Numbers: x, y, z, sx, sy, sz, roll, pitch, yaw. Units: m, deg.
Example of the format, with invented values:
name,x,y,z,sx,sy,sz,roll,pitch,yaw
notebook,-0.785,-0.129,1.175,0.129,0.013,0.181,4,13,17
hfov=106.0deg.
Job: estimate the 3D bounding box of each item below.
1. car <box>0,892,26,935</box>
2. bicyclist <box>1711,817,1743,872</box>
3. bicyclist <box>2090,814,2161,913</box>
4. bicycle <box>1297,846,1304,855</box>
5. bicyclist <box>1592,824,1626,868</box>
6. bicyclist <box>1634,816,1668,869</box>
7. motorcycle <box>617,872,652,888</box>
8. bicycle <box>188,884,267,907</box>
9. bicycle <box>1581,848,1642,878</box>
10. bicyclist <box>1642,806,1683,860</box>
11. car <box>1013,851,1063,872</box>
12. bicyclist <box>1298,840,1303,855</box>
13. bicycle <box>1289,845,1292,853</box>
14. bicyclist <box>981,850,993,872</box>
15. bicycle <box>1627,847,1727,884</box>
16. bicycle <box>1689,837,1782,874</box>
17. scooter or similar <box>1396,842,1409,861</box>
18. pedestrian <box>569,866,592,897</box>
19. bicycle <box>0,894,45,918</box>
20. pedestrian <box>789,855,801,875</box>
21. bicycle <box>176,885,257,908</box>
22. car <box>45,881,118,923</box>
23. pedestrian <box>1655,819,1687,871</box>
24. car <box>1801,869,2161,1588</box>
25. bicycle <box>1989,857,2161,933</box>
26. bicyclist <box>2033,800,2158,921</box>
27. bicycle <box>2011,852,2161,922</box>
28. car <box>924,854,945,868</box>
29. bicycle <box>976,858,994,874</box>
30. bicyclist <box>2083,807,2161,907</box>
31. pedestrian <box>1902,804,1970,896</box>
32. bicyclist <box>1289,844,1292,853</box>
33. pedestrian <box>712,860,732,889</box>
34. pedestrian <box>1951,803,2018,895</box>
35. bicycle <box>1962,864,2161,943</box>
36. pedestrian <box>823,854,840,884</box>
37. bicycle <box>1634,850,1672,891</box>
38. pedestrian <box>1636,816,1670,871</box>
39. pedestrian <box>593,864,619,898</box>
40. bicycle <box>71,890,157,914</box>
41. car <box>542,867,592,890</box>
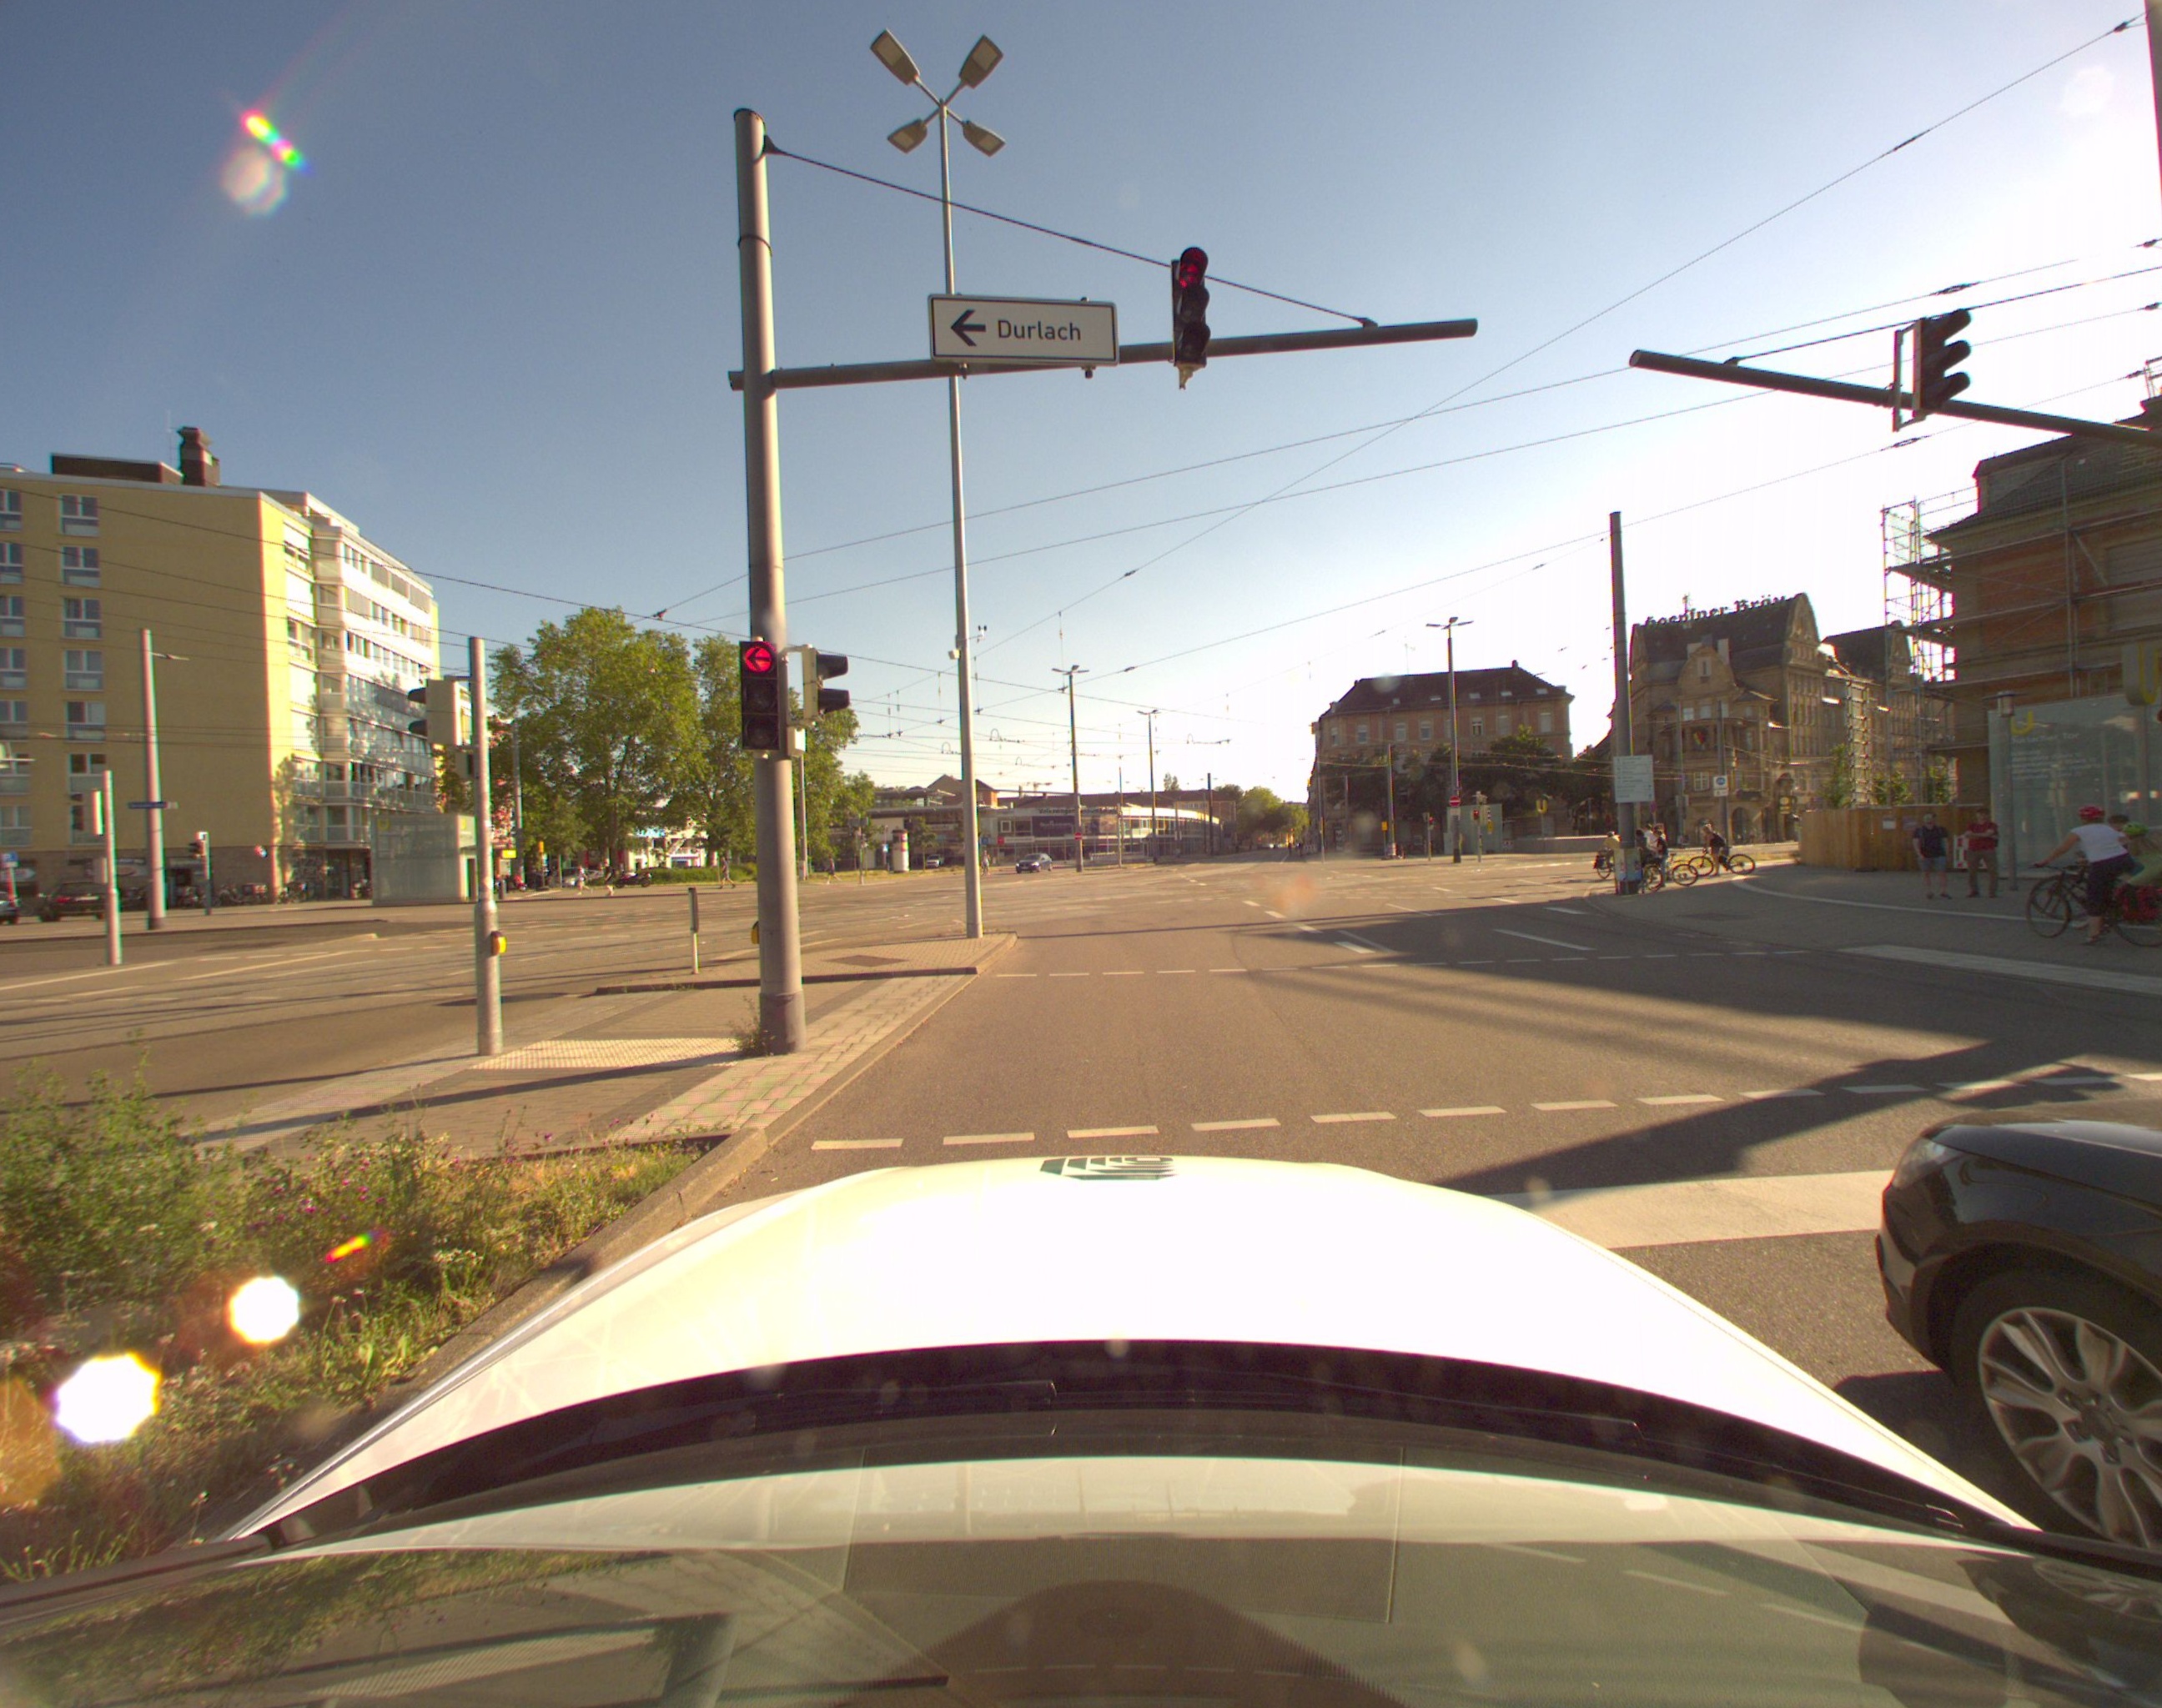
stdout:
name,x,y,z,sx,sy,sz,roll,pitch,yaw
car,-47.017,2.557,34.897,3.948,1.706,2.013,-1,-1,35
bicyclist,21.191,-0.312,26.727,0.785,1.779,0.526,-1,-1,37
bicyclist,14.514,0.127,11.128,0.614,1.315,0.673,0,-1,-3
bicycle,24.738,-0.372,91.688,0.652,0.952,1.607,-1,-1,17
bicyclist,19.156,-0.291,29.563,0.514,1.557,0.945,0,-1,-7
bicyclist,16.008,-0.312,22.881,0.701,1.439,0.953,-1,-1,31
motorcycle,-27.262,1.577,49.765,1.779,0.914,0.675,0,-1,-19
bicycle,-46.344,2.245,44.246,3.041,1.151,0.637,0,-1,-16
bicycle,19.168,0.306,29.492,0.533,1.049,2.315,0,1,-6
bicyclist,17.043,-0.593,23.890,0.935,1.557,0.715,-1,-1,33
car,-3.220,0.560,61.898,1.975,1.585,4.024,-1,-1,29
bicyclist,24.734,-0.738,91.768,0.515,1.700,0.518,-1,-1,14
bicycle,25.125,-0.568,97.636,0.407,0.941,1.852,-1,-1,15
bicyclist,-6.960,0.533,60.242,0.593,1.615,0.827,-1,2,19
bicycle,17.301,0.331,23.729,2.290,1.049,0.705,-1,-1,32
bicycle,21.335,0.068,26.606,2.290,1.049,0.539,-5,-1,36
scooter or similar,24.726,-0.181,62.679,0.780,1.376,1.916,-1,-1,16
pedestrian,-27.827,1.530,45.255,0.790,1.706,0.760,-1,-1,9
bicycle,-54.617,2.644,41.129,3.041,1.151,0.637,0,-1,-16
pedestrian,-24.657,0.938,70.234,0.854,1.694,0.497,0,-1,-1
bicycle,-46.246,2.265,43.588,3.041,1.151,0.637,0,-1,-16
car,-44.231,2.067,36.031,3.948,1.706,1.730,-1,-1,35
pedestrian,22.136,-0.334,30.558,0.646,1.922,0.689,0,-1,-6
car,2.903,0.734,0.416,1.617,1.404,4.001,0,0,2
bicycle,14.471,0.545,11.612,0.657,0.963,2.033,-4,0,-3
bicyclist,13.470,0.085,10.838,0.664,1.553,0.794,0,-1,-3
bicycle,15.650,0.477,12.279,0.661,0.963,2.018,-4,1,-25
car,-17.965,0.859,100.000,1.988,1.750,3.997,0,-1,-1
bicycle,-7.058,0.884,59.966,0.607,1.189,1.878,-1,-1,19
bicyclist,15.683,0.047,12.235,0.619,1.454,0.667,0,-1,-27
pedestrian,17.342,-0.085,16.525,0.672,1.807,0.680,-3,0,-19
bicyclist,25.085,-0.669,97.576,0.405,1.116,0.400,-1,-1,13
pedestrian,-21.147,1.185,47.951,0.790,1.706,0.760,-1,-1,9
pedestrian,18.151,-0.092,16.372,0.672,1.807,0.680,0,-1,-19
bicycle,13.460,0.618,11.087,0.656,0.963,2.033,0,-1,-3
pedestrian,-15.903,0.941,51.970,0.790,1.886,0.760,-1,-1,9
bicycle,15.974,0.428,22.790,0.692,1.049,2.335,0,1,31
pedestrian,21.402,-0.386,30.476,0.730,2.014,0.760,0,-1,-6
pedestrian,-24.011,1.367,41.167,0.790,1.706,0.760,-1,-1,9
bicycle,-50.342,2.485,42.422,3.041,1.151,0.637,0,-1,-16
car,-37.305,1.720,59.247,1.772,1.567,3.983,0,-1,-12
